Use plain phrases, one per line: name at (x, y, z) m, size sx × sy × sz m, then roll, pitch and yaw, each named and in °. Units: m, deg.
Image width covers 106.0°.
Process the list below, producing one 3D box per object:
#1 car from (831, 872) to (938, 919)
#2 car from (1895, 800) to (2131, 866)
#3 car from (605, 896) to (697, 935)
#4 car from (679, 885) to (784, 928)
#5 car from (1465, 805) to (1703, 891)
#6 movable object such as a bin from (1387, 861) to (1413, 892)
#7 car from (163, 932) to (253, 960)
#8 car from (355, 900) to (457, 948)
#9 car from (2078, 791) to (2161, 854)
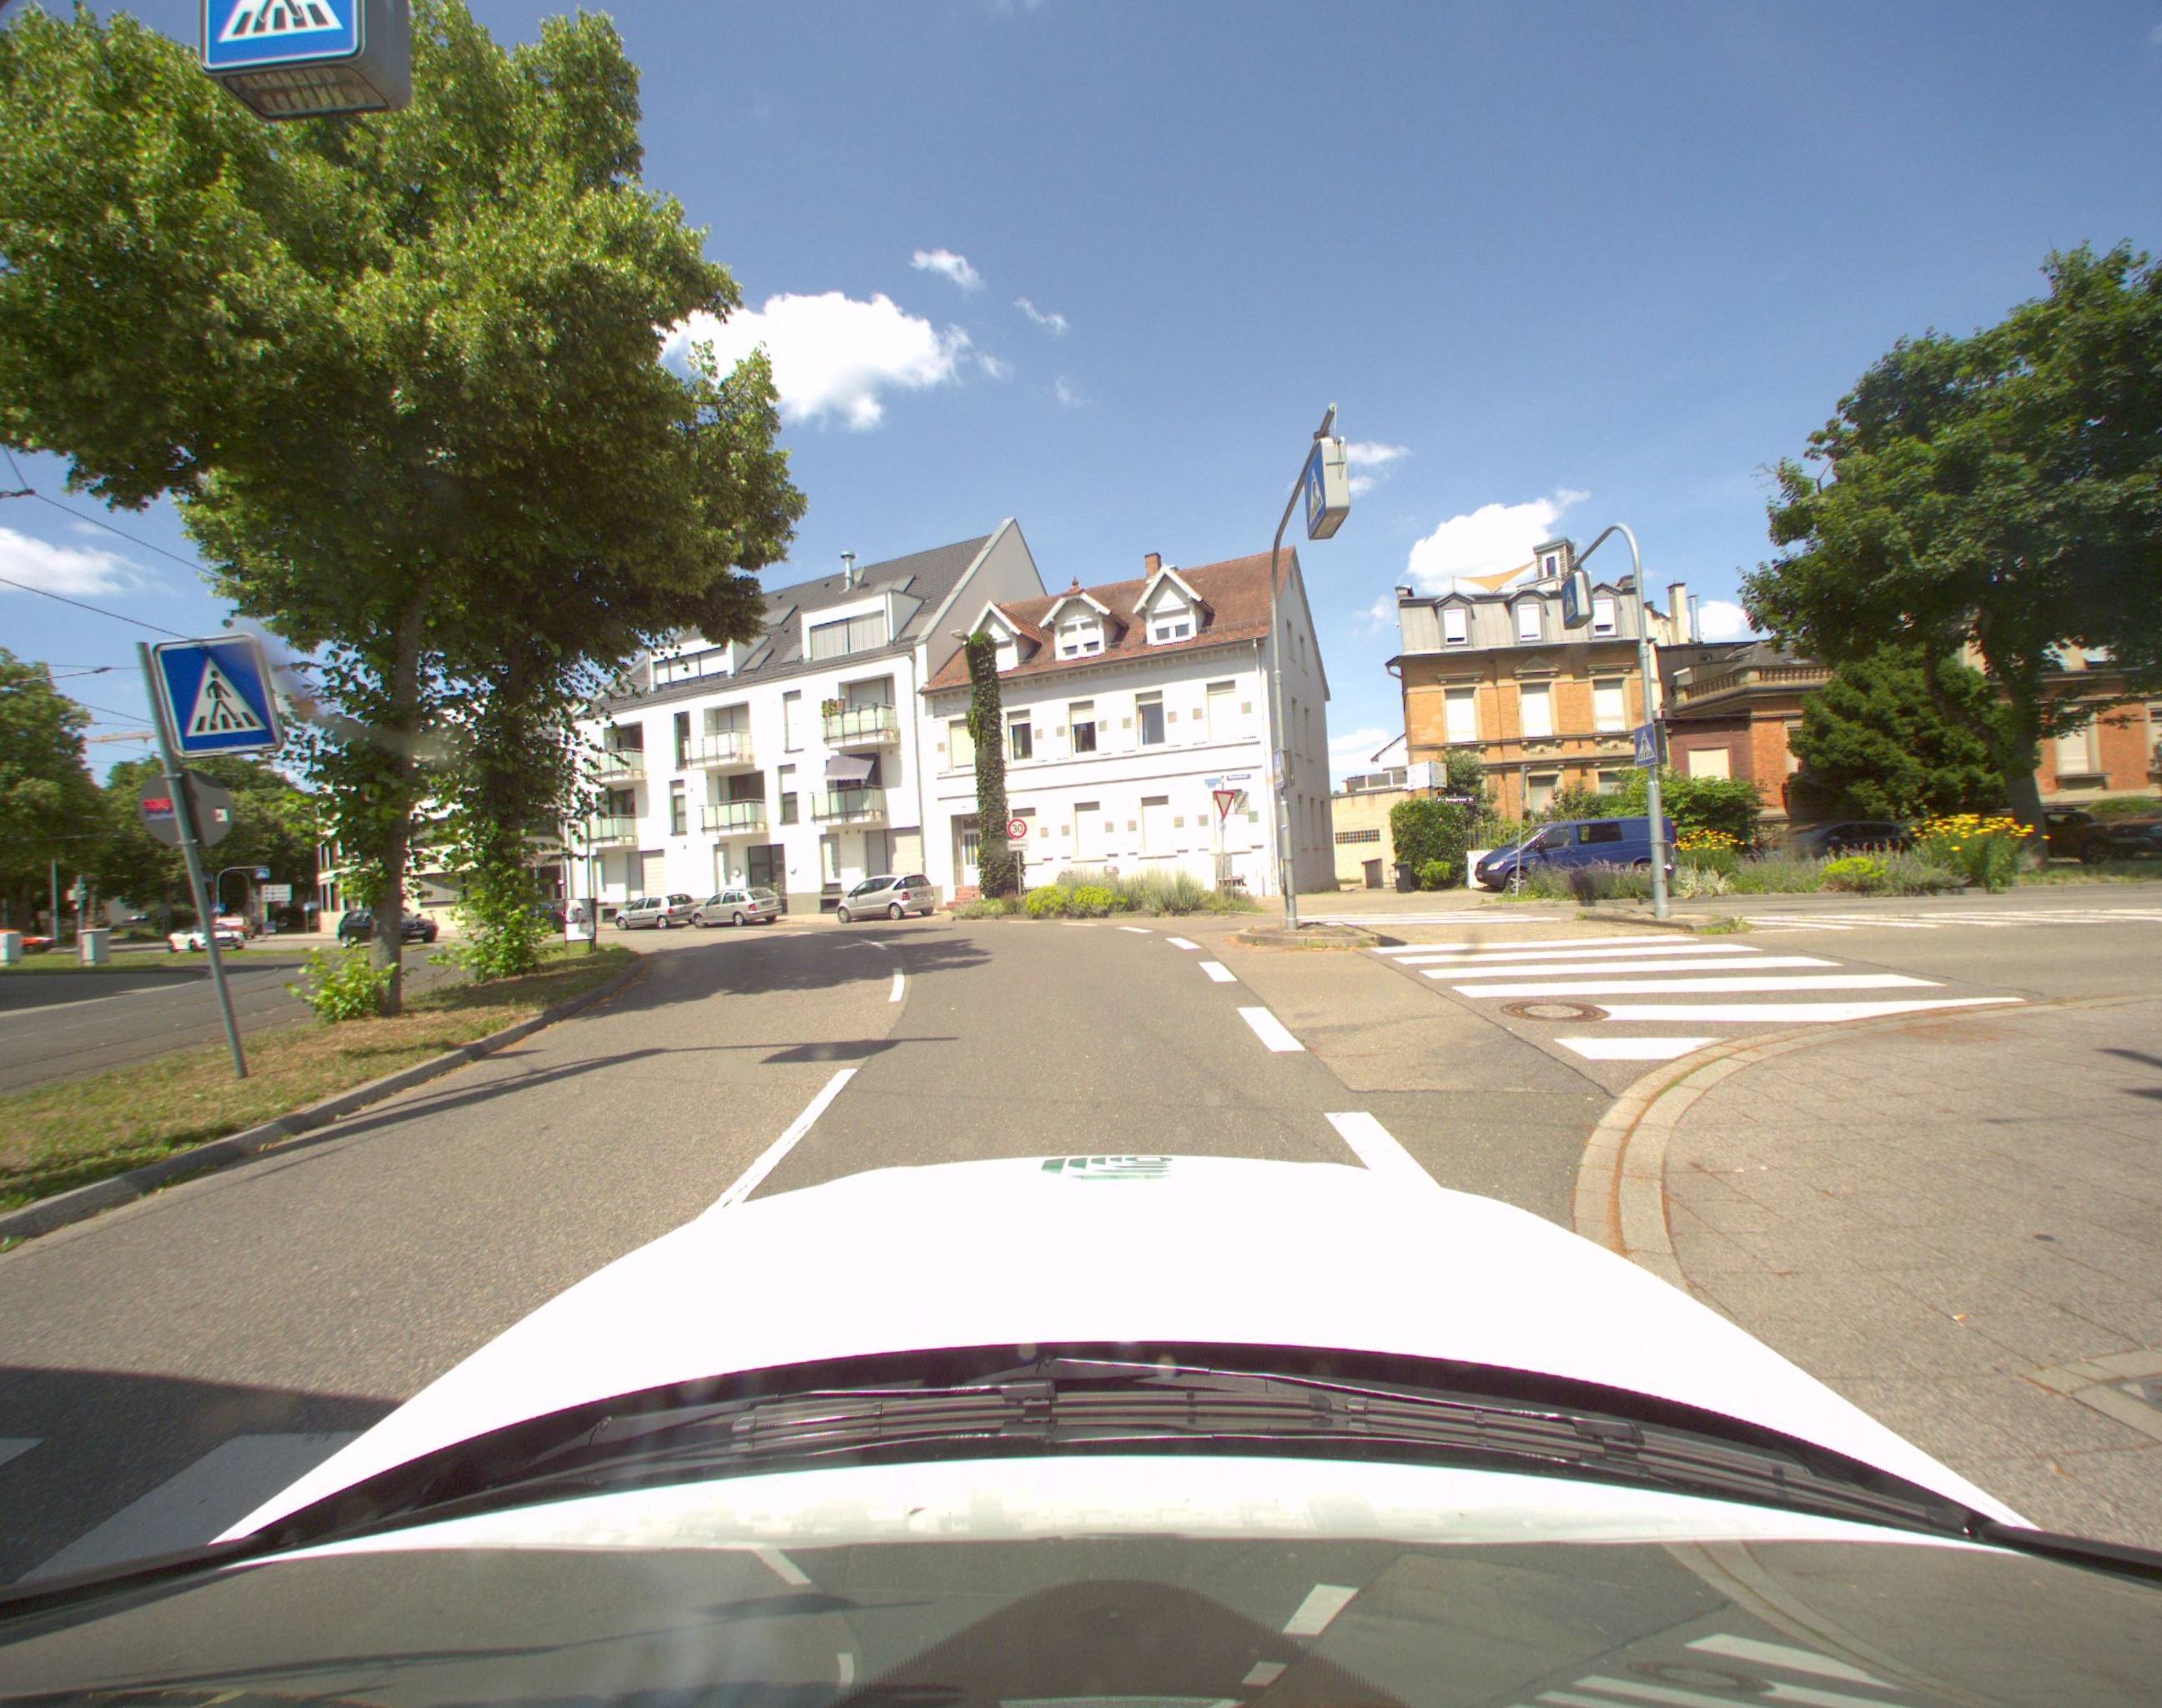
car at (-6.993, 1.483, 28.897) m, size 3.571 × 1.587 × 1.594 m, roll -3°, pitch -3°, yaw 32°
car at (25.643, -0.533, 22.533) m, size 4.213 × 1.591 × 1.861 m, roll -2°, pitch -3°, yaw 2°
car at (-18.027, 2.578, 34.143) m, size 3.461 × 1.357 × 1.431 m, roll -3°, pitch 3°, yaw 23°
car at (-13.846, 2.085, 32.235) m, size 3.858 × 1.465 × 1.672 m, roll -3°, pitch 3°, yaw 29°
car at (13.902, -0.156, 22.843) m, size 5.193 × 1.947 × 2.089 m, roll -4°, pitch 0°, yaw 10°
movable object such as a bin at (9.573, 0.672, 24.467) m, size 0.420 × 0.916 × 0.555 m, roll 0°, pitch -3°, yaw -23°
car at (-43.343, 4.547, 40.417) m, size 3.951 × 1.244 × 1.796 m, roll -3°, pitch -3°, yaw 23°
car at (-26.177, 2.730, 31.545) m, size 4.338 × 1.552 × 1.907 m, roll -5°, pitch -2°, yaw 35°
car at (30.758, -0.890, 22.400) m, size 4.213 × 1.591 × 1.861 m, roll -2°, pitch -3°, yaw 2°
